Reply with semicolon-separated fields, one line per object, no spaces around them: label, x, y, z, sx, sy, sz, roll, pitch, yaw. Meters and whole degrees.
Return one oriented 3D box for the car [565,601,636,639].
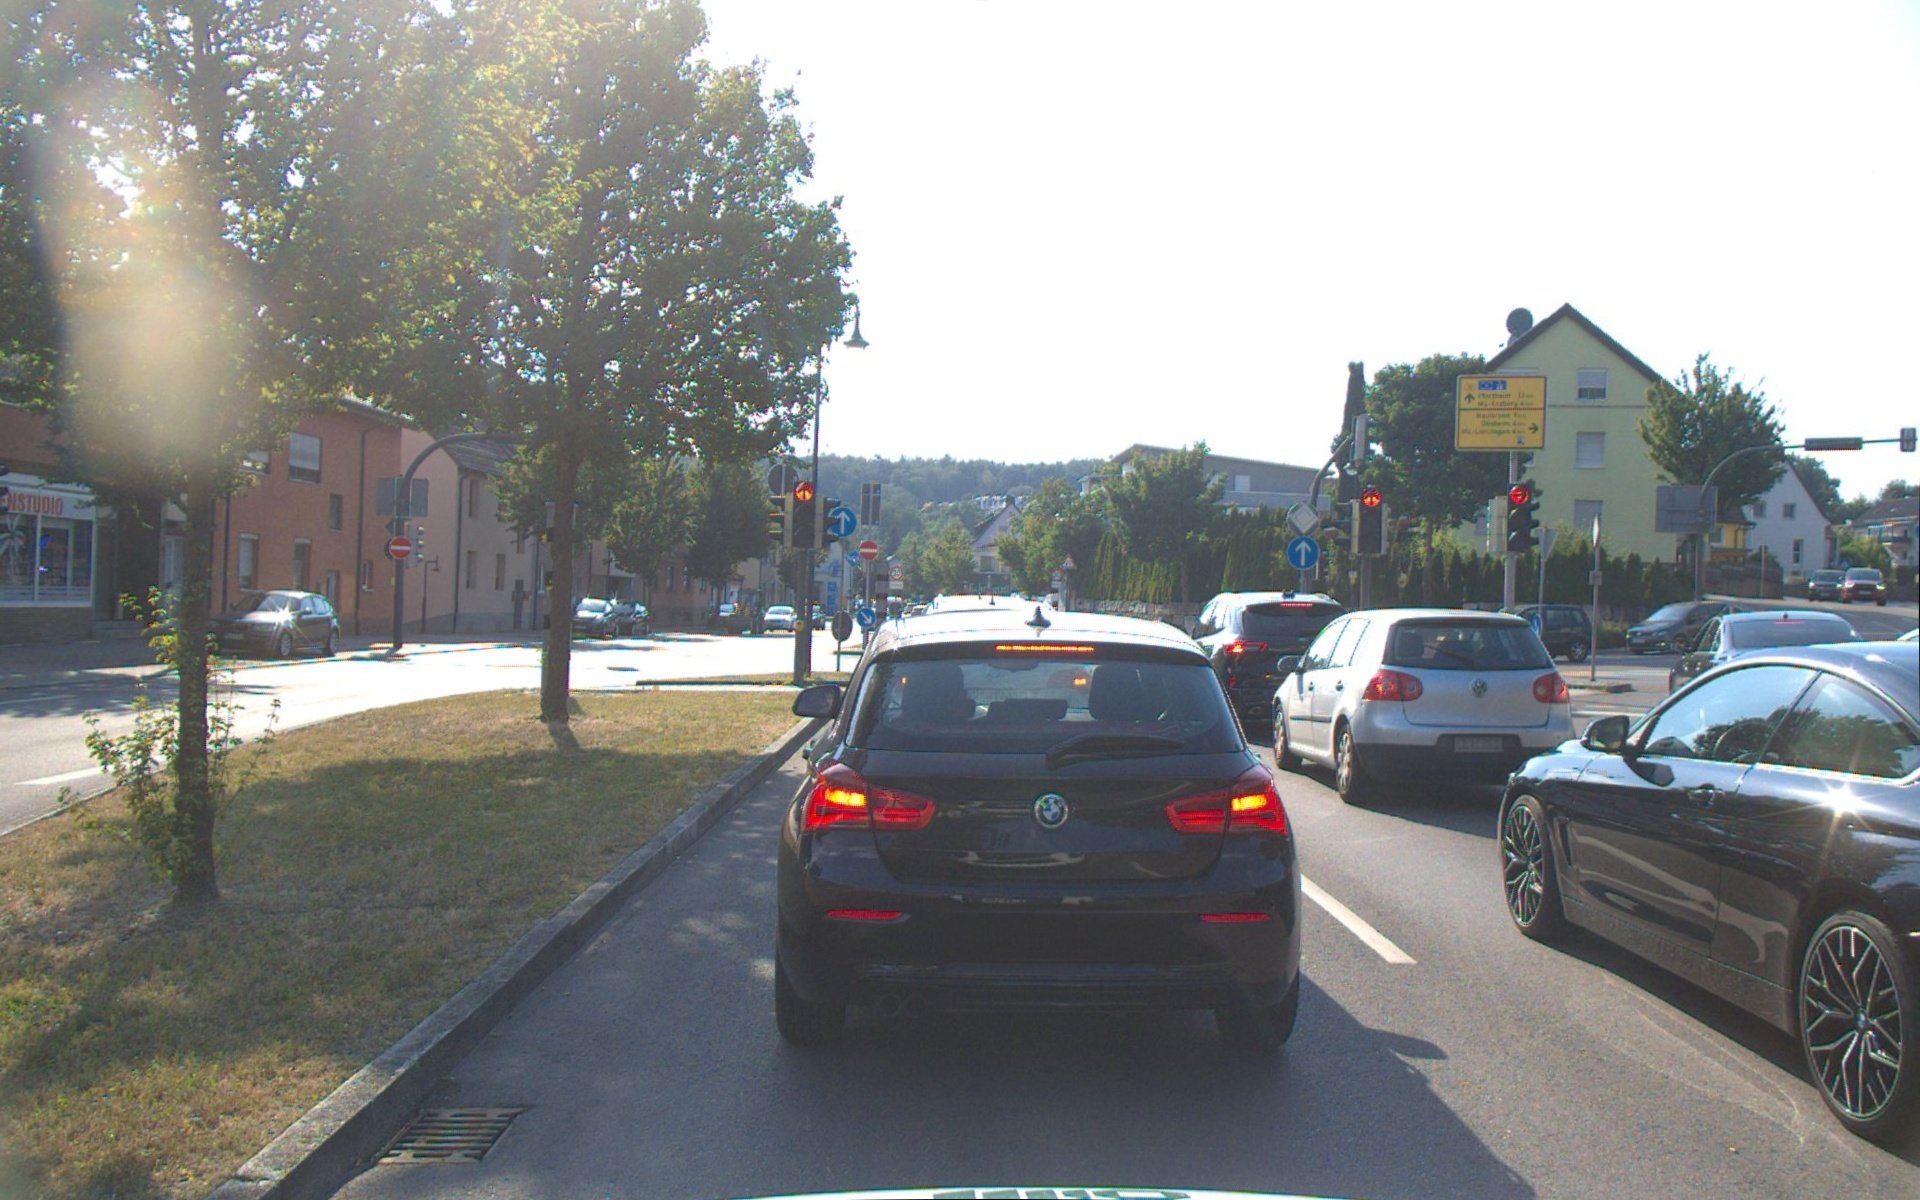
car;-14.507;0.803;66.922;1.701;1.323;4.001;5;0;3

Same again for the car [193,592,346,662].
car;-15.480;0.571;37.308;1.702;1.323;3.999;5;0;-1

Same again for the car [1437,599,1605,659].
car;15.161;0.763;44.851;3.907;1.515;1.847;1;0;-3

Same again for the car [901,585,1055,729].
car;0.200;0.646;21.040;1.751;1.622;4.280;-1;0;0

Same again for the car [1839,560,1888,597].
car;42.466;-0.995;77.789;1.806;1.670;4.426;1;0;26

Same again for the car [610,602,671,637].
car;-14.115;0.836;73.203;1.701;1.323;4.001;5;0;2

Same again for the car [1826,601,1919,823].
car;7.615;0.797;11.644;1.583;1.569;3.320;-1;0;6

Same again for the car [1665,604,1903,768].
car;9.039;0.852;18.476;1.621;1.569;4.401;-1;0;17

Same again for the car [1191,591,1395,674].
car;7.200;0.677;35.693;4.113;1.709;1.972;0;0;18

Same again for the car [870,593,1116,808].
car;0.230;0.713;14.000;1.751;1.520;4.280;-1;0;0

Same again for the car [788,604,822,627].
car;-10.466;1.041;111.872;1.701;1.323;3.800;5;0;2

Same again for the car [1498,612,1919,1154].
car;3.465;0.784;5.835;1.725;1.422;4.280;-1;0;0

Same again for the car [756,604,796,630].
car;-10.875;0.984;98.079;1.701;1.323;3.800;5;0;2

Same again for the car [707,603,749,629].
car;-13.552;0.947;96.910;1.701;1.323;3.800;5;0;2

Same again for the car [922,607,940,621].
car;-3.179;1.502;180.768;1.701;1.323;3.800;5;0;2

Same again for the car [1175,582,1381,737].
car;3.739;0.647;20.074;1.725;1.685;3.902;-1;0;0

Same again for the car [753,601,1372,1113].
car;0.290;0.734;6.855;1.751;1.422;4.280;-1;0;0

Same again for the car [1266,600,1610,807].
car;3.786;0.739;13.791;1.725;1.451;3.902;-1;0;0

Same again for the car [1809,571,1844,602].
car;52.156;-0.822;99.528;1.807;1.770;4.777;1;0;28

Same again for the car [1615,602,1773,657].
car;21.639;0.853;48.833;3.914;1.515;1.844;1;0;-10

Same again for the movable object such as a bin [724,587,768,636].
movable object such as a bin;-11.159;0.582;86.449;1.701;2.485;4.449;0;0;0

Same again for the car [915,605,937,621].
car;-3.231;1.267;157.321;1.701;1.323;3.800;5;0;2
